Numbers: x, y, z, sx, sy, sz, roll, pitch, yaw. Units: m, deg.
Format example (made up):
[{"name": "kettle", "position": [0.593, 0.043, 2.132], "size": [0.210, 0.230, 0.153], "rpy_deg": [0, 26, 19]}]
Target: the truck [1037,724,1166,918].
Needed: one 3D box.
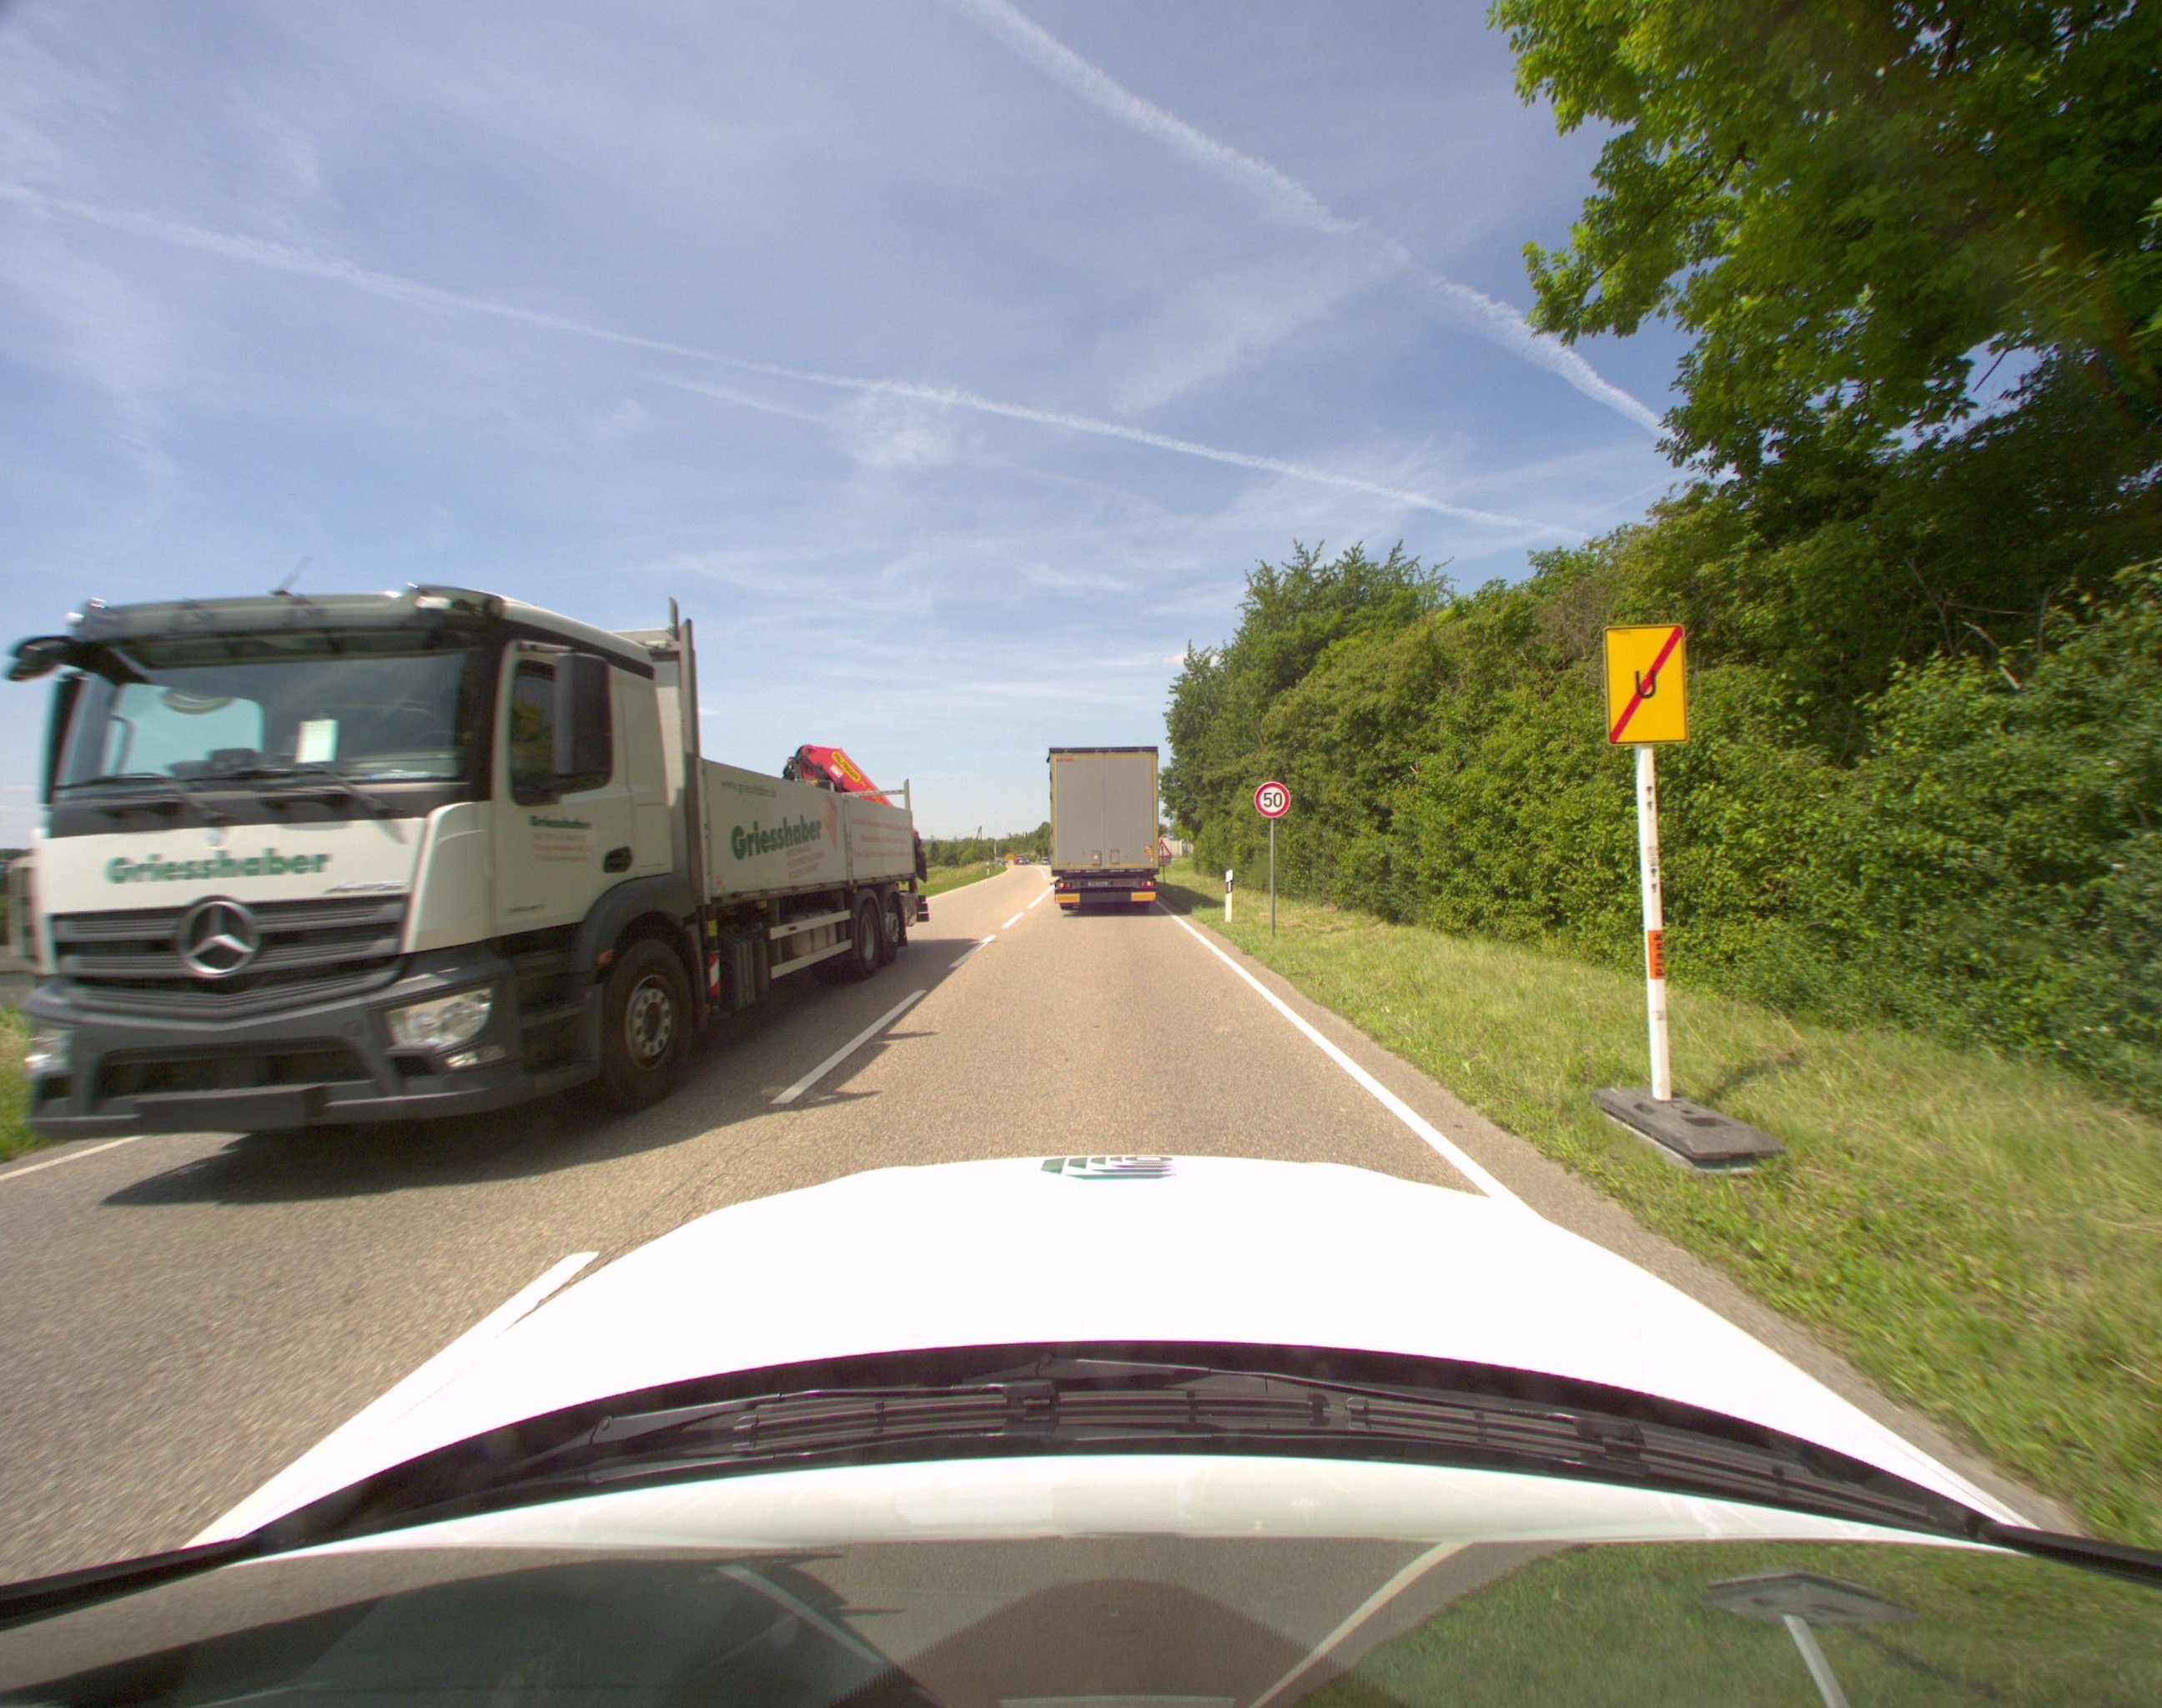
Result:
[{"name": "truck", "position": [0.475, -0.765, 23.022], "size": [2.898, 4.410, 8.858], "rpy_deg": [-1, 0, 0]}]

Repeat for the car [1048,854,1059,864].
[{"name": "car", "position": [-5.811, 0.978, 173.498], "size": [2.166, 2.013, 4.521], "rpy_deg": [-3, 0, -3]}]

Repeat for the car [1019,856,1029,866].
[{"name": "car", "position": [-11.777, 1.512, 168.311], "size": [1.989, 1.950, 4.497], "rpy_deg": [-4, 0, -3]}]

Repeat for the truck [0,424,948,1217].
[{"name": "truck", "position": [-4.006, -0.163, 9.355], "size": [2.747, 3.576, 11.066], "rpy_deg": [-4, 0, 1]}]

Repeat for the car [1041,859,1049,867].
[{"name": "car", "position": [-8.461, 2.015, 191.650], "size": [1.888, 1.777, 4.381], "rpy_deg": [-3, 0, -3]}]
